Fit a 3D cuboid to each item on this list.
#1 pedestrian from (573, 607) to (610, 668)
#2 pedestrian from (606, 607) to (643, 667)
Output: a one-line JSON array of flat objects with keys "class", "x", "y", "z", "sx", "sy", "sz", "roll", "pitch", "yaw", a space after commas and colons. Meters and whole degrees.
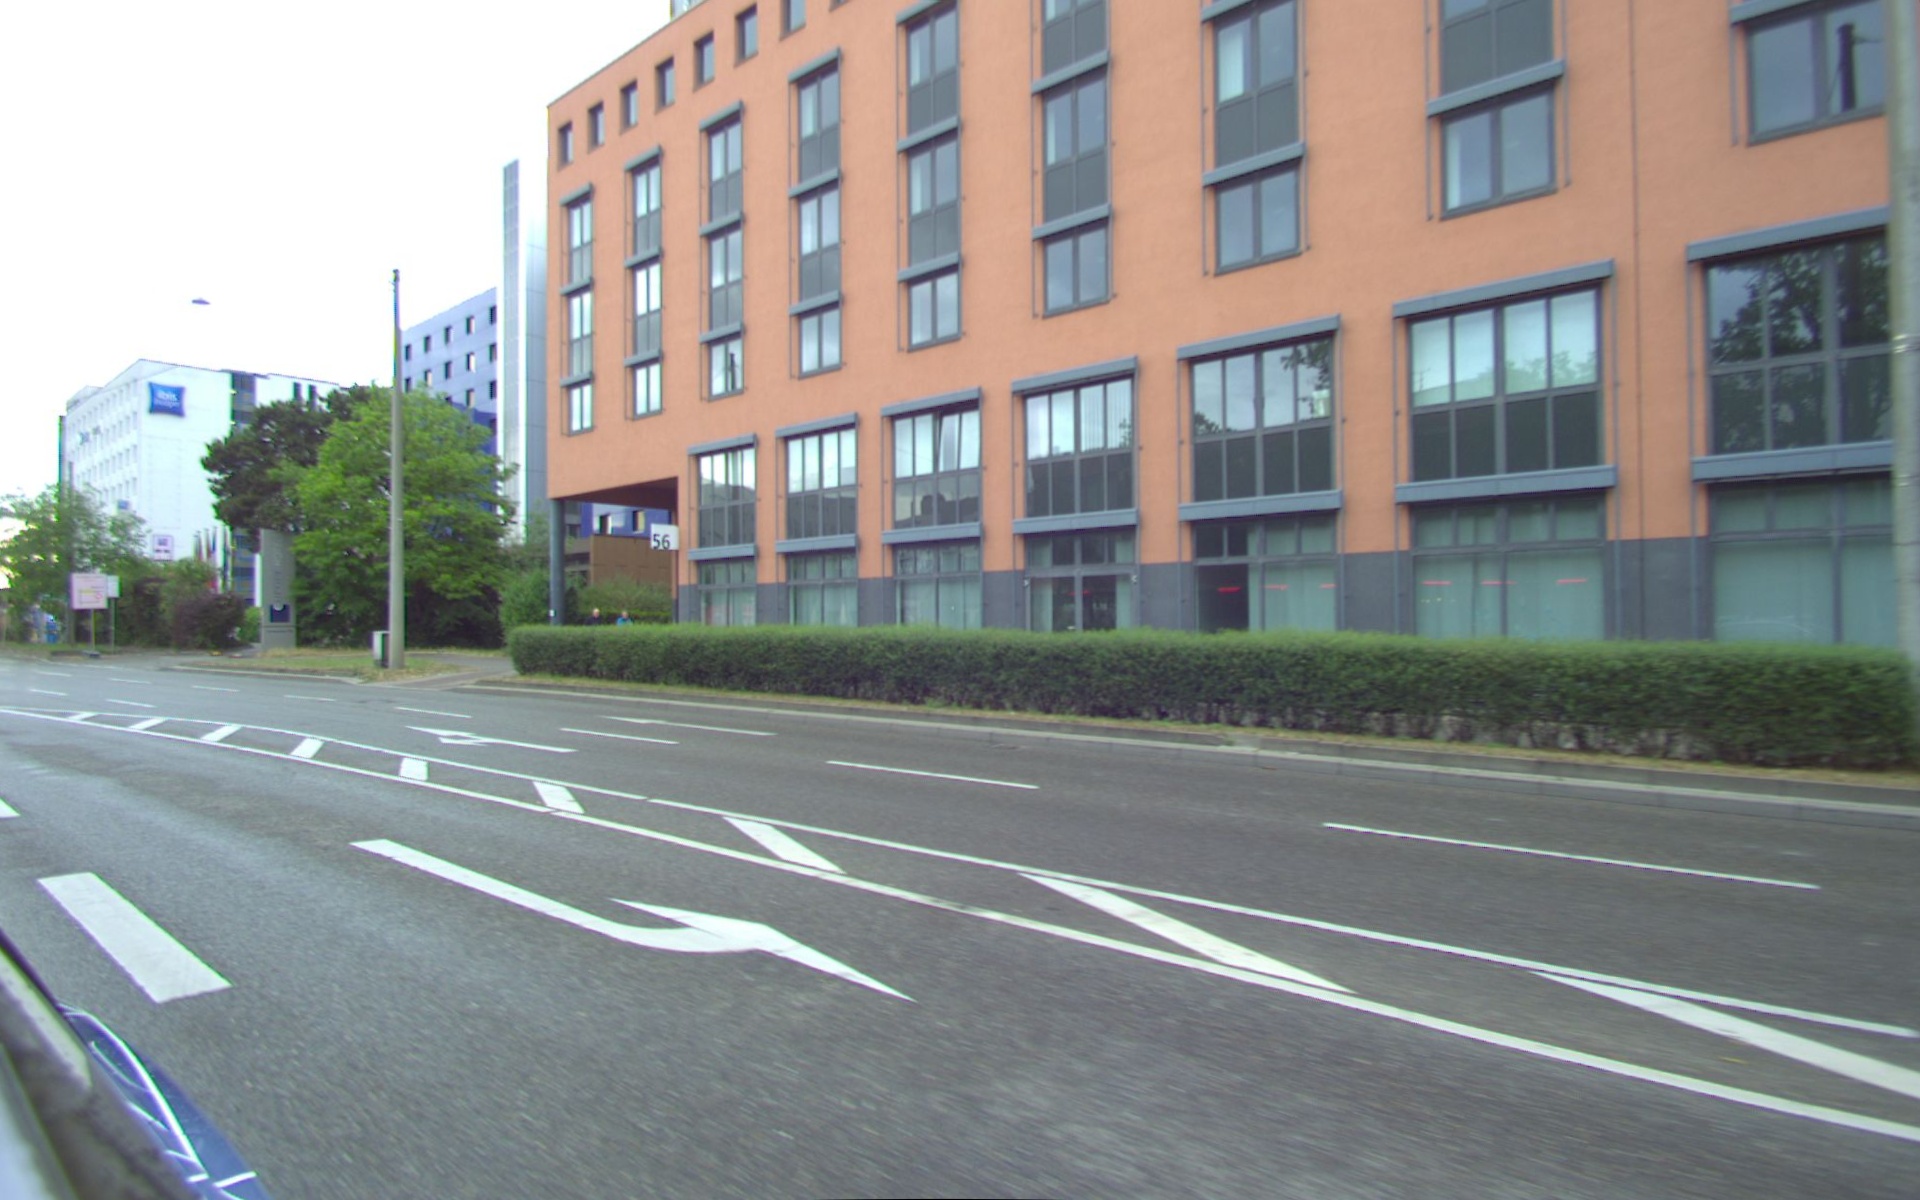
[{"class": "pedestrian", "x": -11.474, "y": 1.165, "z": 31.512, "sx": 0.885, "sy": 1.855, "sz": 0.738, "roll": -2, "pitch": -1, "yaw": 40}, {"class": "pedestrian", "x": -10.705, "y": 1.167, "z": 32.281, "sx": 0.885, "sy": 1.855, "sz": 0.738, "roll": -2, "pitch": -1, "yaw": 40}]
